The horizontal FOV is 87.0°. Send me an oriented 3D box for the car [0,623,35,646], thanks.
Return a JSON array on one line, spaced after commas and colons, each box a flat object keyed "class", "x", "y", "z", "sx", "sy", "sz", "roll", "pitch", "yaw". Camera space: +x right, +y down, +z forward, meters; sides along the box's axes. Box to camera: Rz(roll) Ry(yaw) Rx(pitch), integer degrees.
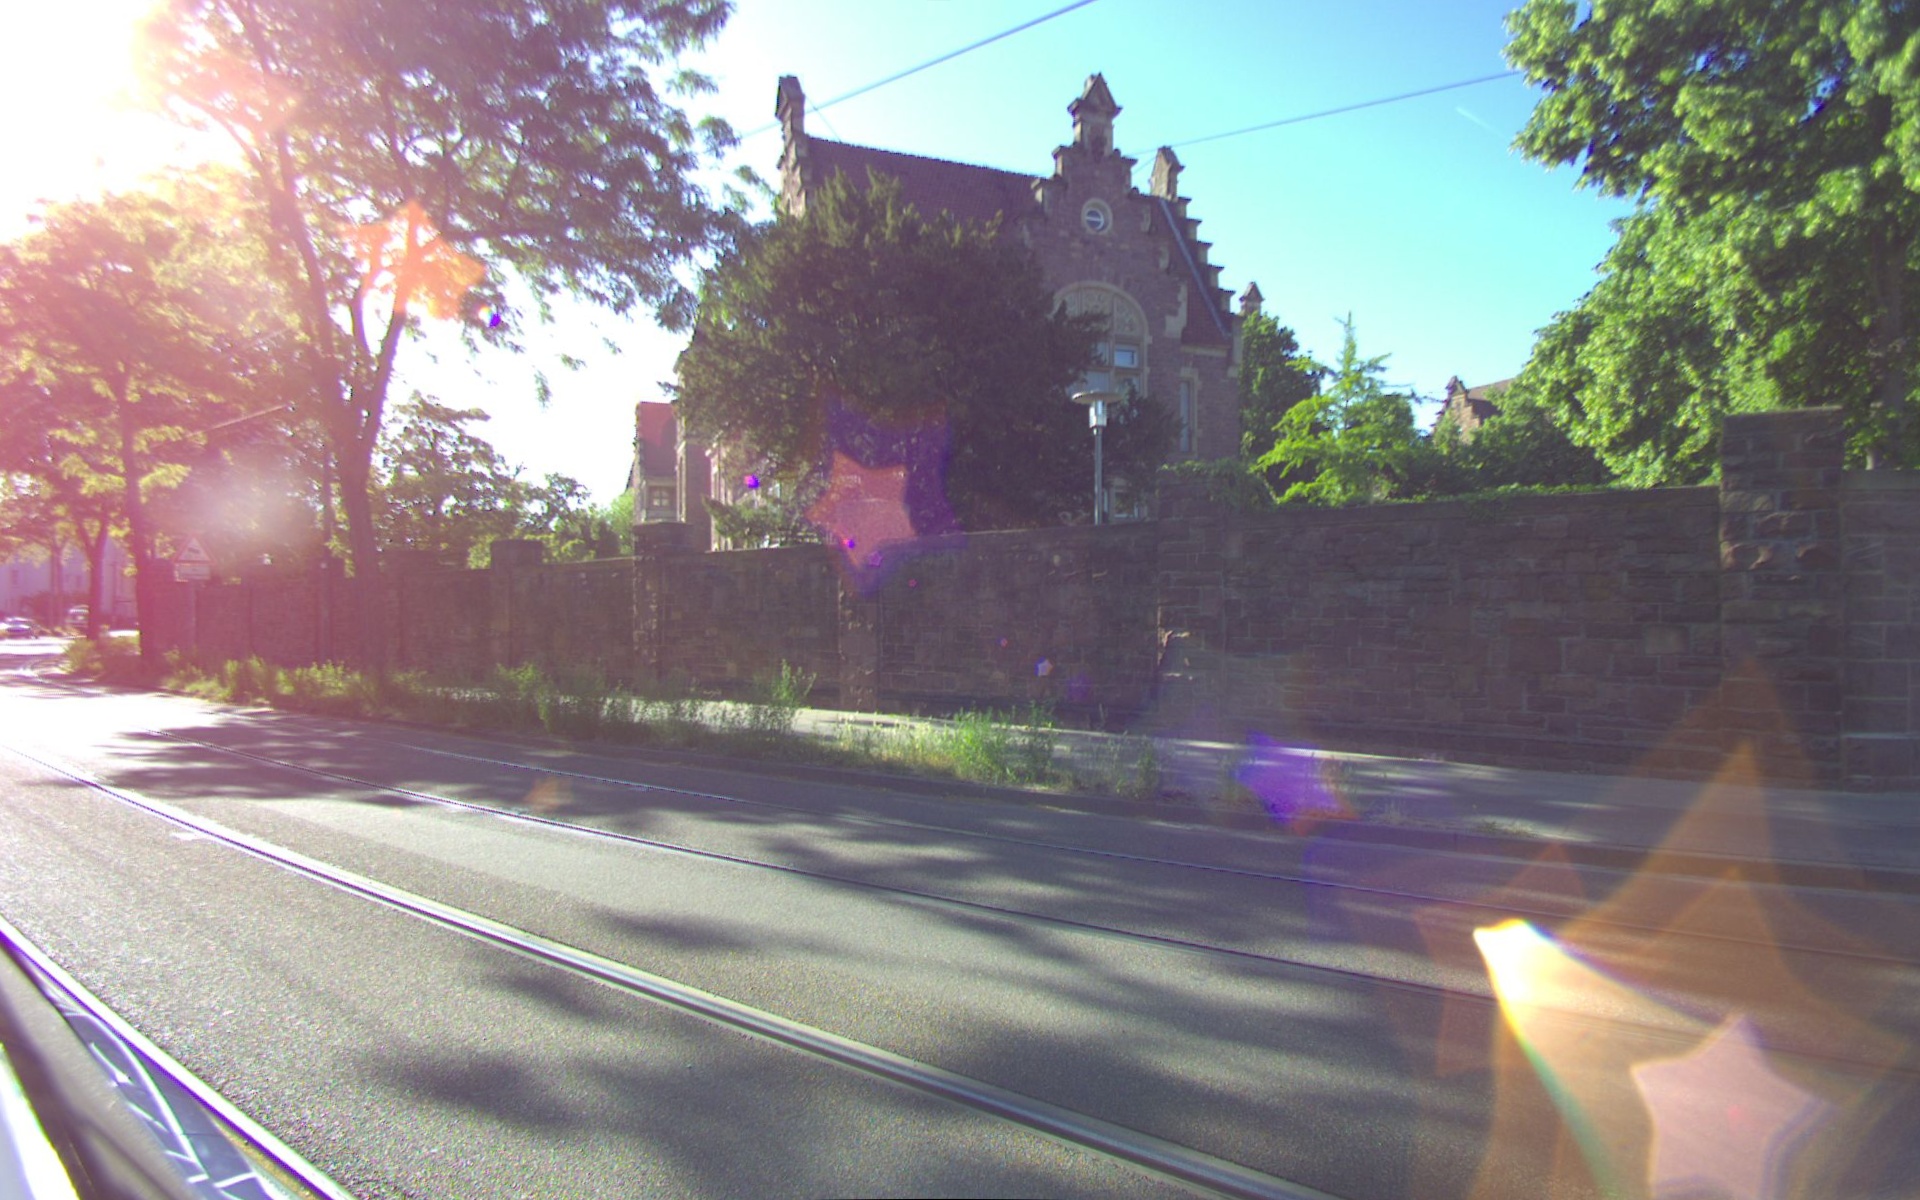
[{"class": "car", "x": -68.905, "y": 2.507, "z": 73.852, "sx": 1.969, "sy": 1.560, "sz": 4.005, "roll": 0, "pitch": -1, "yaw": -41}]
